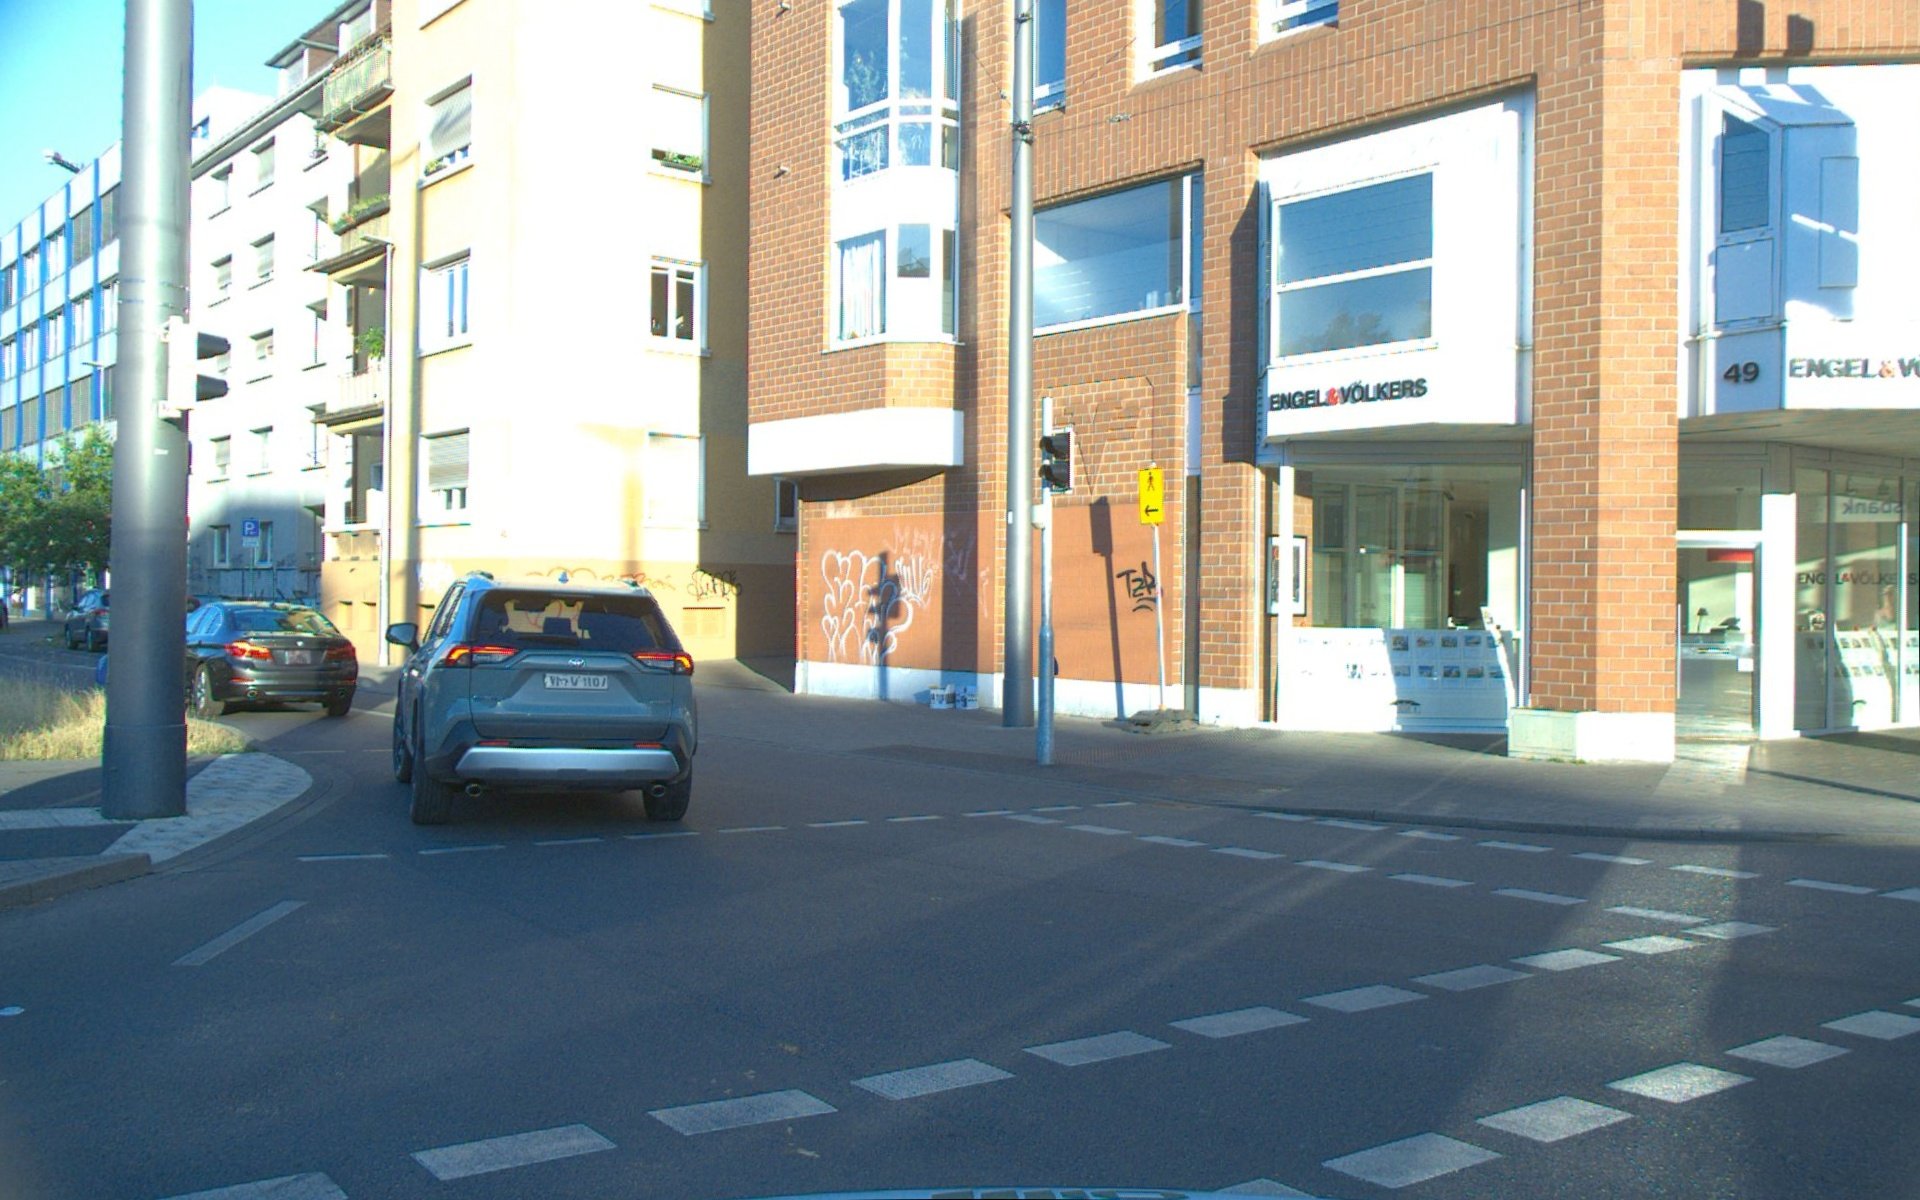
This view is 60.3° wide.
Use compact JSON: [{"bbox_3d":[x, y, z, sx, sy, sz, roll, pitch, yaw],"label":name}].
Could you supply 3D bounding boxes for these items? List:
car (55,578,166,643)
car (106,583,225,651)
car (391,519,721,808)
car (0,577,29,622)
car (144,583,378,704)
[{"bbox_3d":[-23.463,0.290,45.618,1.746,1.683,4.462,-2,0,-40],"label":"car"},{"bbox_3d":[-20.162,0.420,41.916,1.662,1.544,3.544,-5,3,-43],"label":"car"},{"bbox_3d":[-3.161,0.456,12.298,1.831,1.744,4.165,2,-2,-21],"label":"car"},{"bbox_3d":[-36.033,-0.027,61.143,1.810,1.594,4.736,-2,2,-42],"label":"car"},{"bbox_3d":[-9.549,0.589,22.424,1.845,1.488,4.133,3,-2,-39],"label":"car"}]
